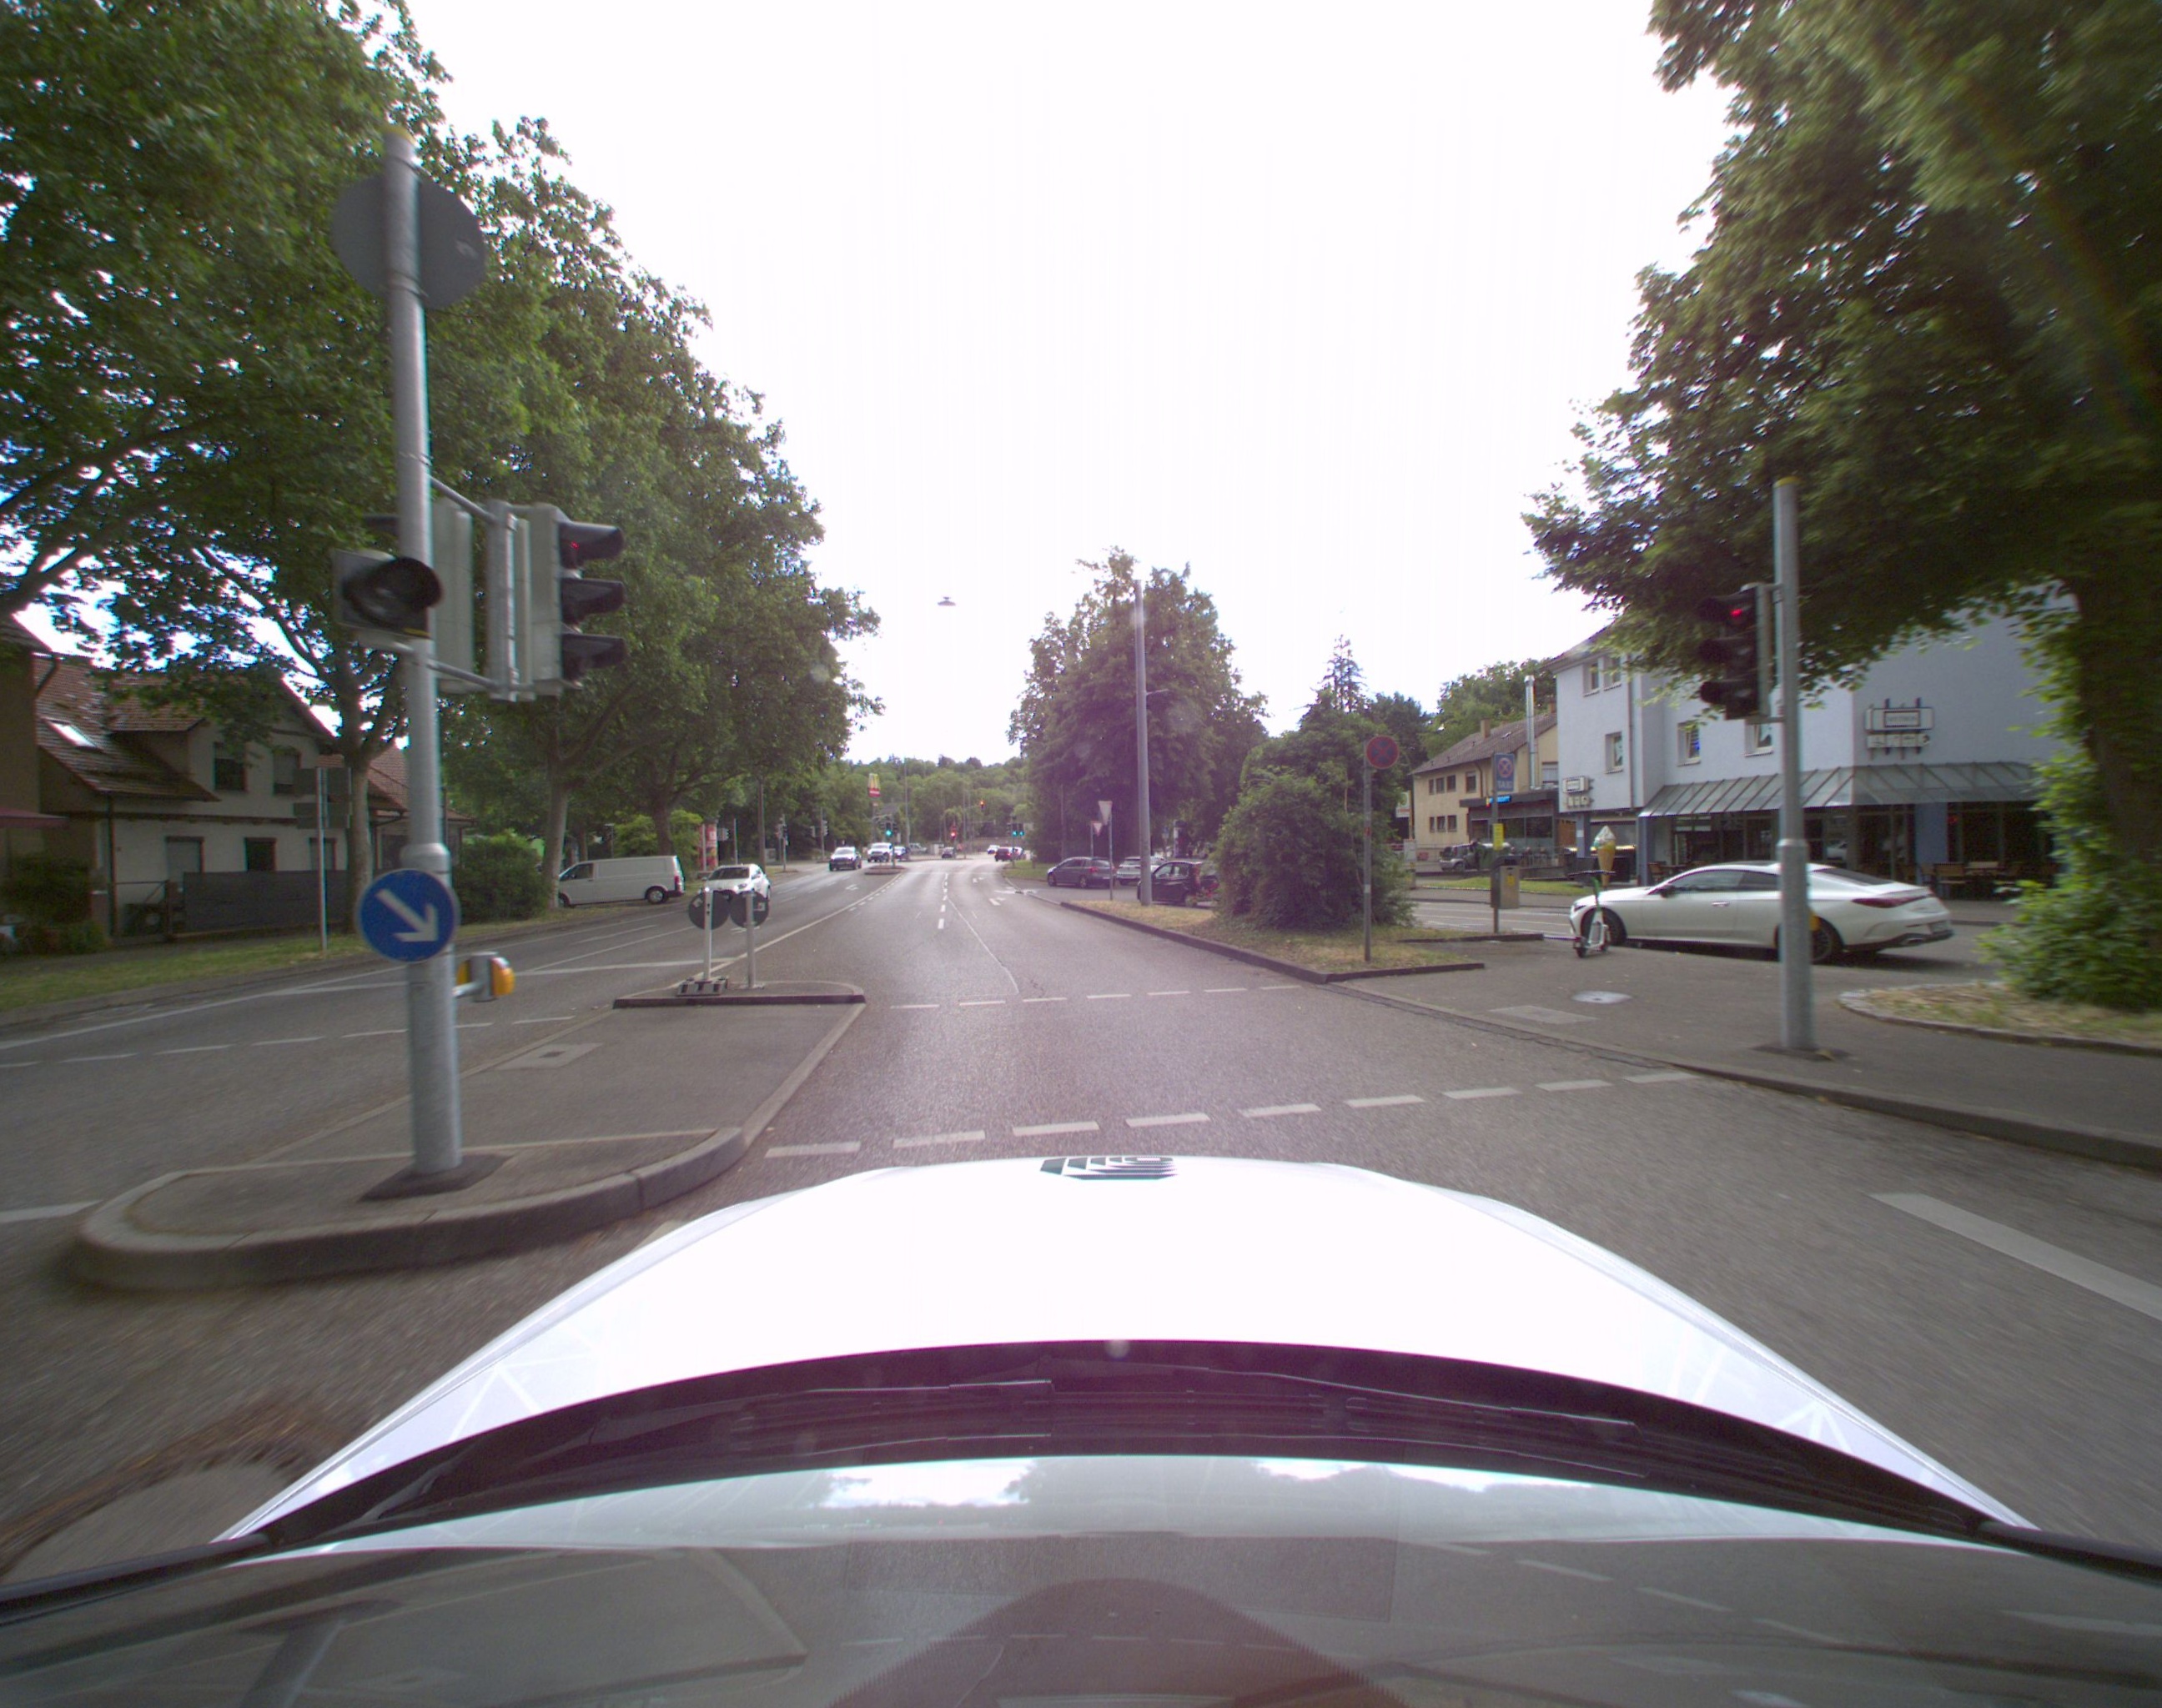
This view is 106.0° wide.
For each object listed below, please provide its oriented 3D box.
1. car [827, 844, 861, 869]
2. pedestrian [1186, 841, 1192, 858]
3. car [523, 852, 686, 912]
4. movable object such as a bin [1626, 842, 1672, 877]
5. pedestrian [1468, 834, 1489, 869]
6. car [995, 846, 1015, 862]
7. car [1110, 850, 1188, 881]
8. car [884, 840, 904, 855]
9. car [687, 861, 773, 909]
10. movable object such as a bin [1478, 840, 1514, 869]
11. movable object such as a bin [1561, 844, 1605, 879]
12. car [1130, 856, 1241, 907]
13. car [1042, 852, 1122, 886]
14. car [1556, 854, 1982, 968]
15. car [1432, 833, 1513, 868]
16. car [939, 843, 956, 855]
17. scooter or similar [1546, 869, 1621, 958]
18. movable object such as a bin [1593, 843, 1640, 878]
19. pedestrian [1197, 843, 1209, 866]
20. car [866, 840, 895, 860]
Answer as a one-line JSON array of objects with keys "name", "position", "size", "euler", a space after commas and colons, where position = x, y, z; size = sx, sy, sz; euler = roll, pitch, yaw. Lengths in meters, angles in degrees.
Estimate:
[{"name": "car", "position": [-17.455, 0.148, 60.176], "size": [1.796, 1.586, 4.401], "euler": [-4, 2, -9]}, {"name": "pedestrian", "position": [9.825, -0.445, 74.059], "size": [0.508, 1.531, 0.779], "euler": [-1, 0, 6]}, {"name": "car", "position": [-18.848, 1.055, 32.570], "size": [5.248, 1.931, 2.069], "euler": [-4, 1, -22]}, {"name": "movable object such as a bin", "position": [23.922, 0.217, 34.315], "size": [1.208, 1.395, 1.096], "euler": [-2, 0, 6]}, {"name": "pedestrian", "position": [20.004, -0.110, 41.012], "size": [0.685, 1.729, 0.610], "euler": [-2, 0, -4]}, {"name": "car", "position": [-7.936, -0.005, 85.070], "size": [1.818, 1.509, 4.569], "euler": [-1, 0, -3]}, {"name": "car", "position": [3.460, 0.548, 40.778], "size": [1.742, 1.380, 4.289], "euler": [0, 1, 40]}, {"name": "car", "position": [-19.847, -0.749, 86.593], "size": [1.567, 1.382, 3.941], "euler": [-3, 3, -7]}, {"name": "car", "position": [-12.282, 1.020, 28.787], "size": [1.762, 1.466, 4.010], "euler": [-3, 0, -9]}, {"name": "movable object such as a bin", "position": [20.258, 0.008, 39.762], "size": [1.213, 1.345, 0.994], "euler": [-2, 0, -4]}, {"name": "movable object such as a bin", "position": [21.283, 0.303, 34.582], "size": [1.208, 1.416, 1.096], "euler": [-2, 0, 6]}, {"name": "car", "position": [3.234, 0.817, 25.740], "size": [1.579, 1.404, 3.458], "euler": [-2, 1, -34]}, {"name": "car", "position": [-0.004, 0.680, 39.276], "size": [1.742, 1.429, 4.066], "euler": [-2, 2, -38]}, {"name": "car", "position": [10.474, 0.752, 12.904], "size": [2.005, 1.386, 4.745], "euler": [-2, 0, -27]}, {"name": "car", "position": [20.113, -0.187, 41.929], "size": [3.399, 1.630, 1.626], "euler": [-2, 0, 3]}, {"name": "car", "position": [-18.059, -0.681, 110.311], "size": [1.561, 1.526, 3.193], "euler": [-1, 2, 4]}, {"name": "scooter or similar", "position": [7.024, 0.804, 11.360], "size": [1.368, 1.167, 0.408], "euler": [1, -1, -36]}, {"name": "movable object such as a bin", "position": [22.625, 0.259, 34.432], "size": [1.208, 1.395, 1.163], "euler": [-2, 0, 6]}, {"name": "pedestrian", "position": [8.402, 0.040, 56.029], "size": [0.682, 1.551, 0.742], "euler": [-1, 1, -4]}, {"name": "car", "position": [-18.910, -0.421, 77.032], "size": [1.908, 1.763, 4.745], "euler": [-2, 2, -5]}]
